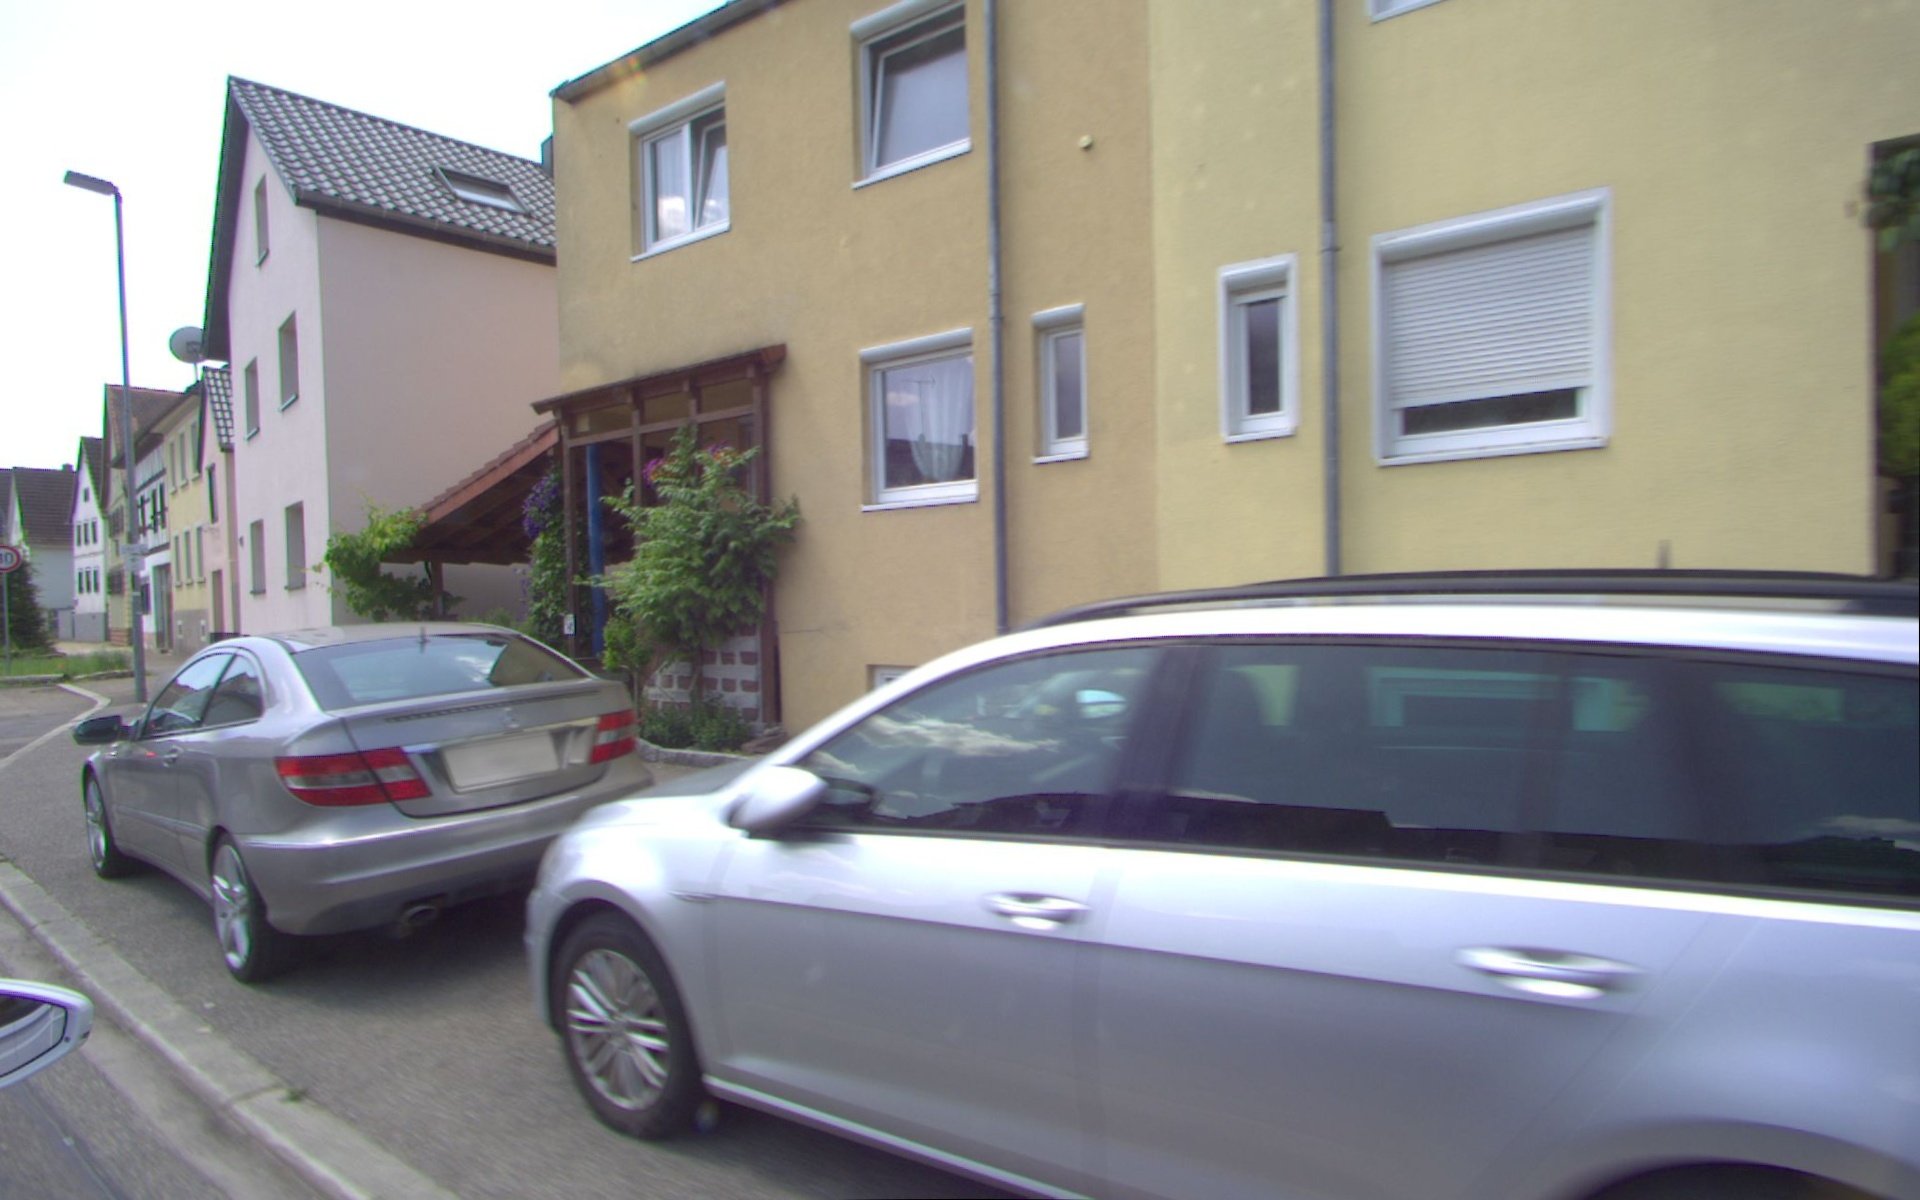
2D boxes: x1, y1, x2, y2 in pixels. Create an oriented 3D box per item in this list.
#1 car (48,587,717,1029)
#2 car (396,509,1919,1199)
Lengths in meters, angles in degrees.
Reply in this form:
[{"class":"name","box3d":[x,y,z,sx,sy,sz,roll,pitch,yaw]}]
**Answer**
[{"class":"car","box3d":[-3.400,0.775,5.467,4.375,1.418,1.761,-3,1,41]},{"class":"car","box3d":[0.533,0.651,2.808,4.275,1.551,1.879,-1,2,33]}]
